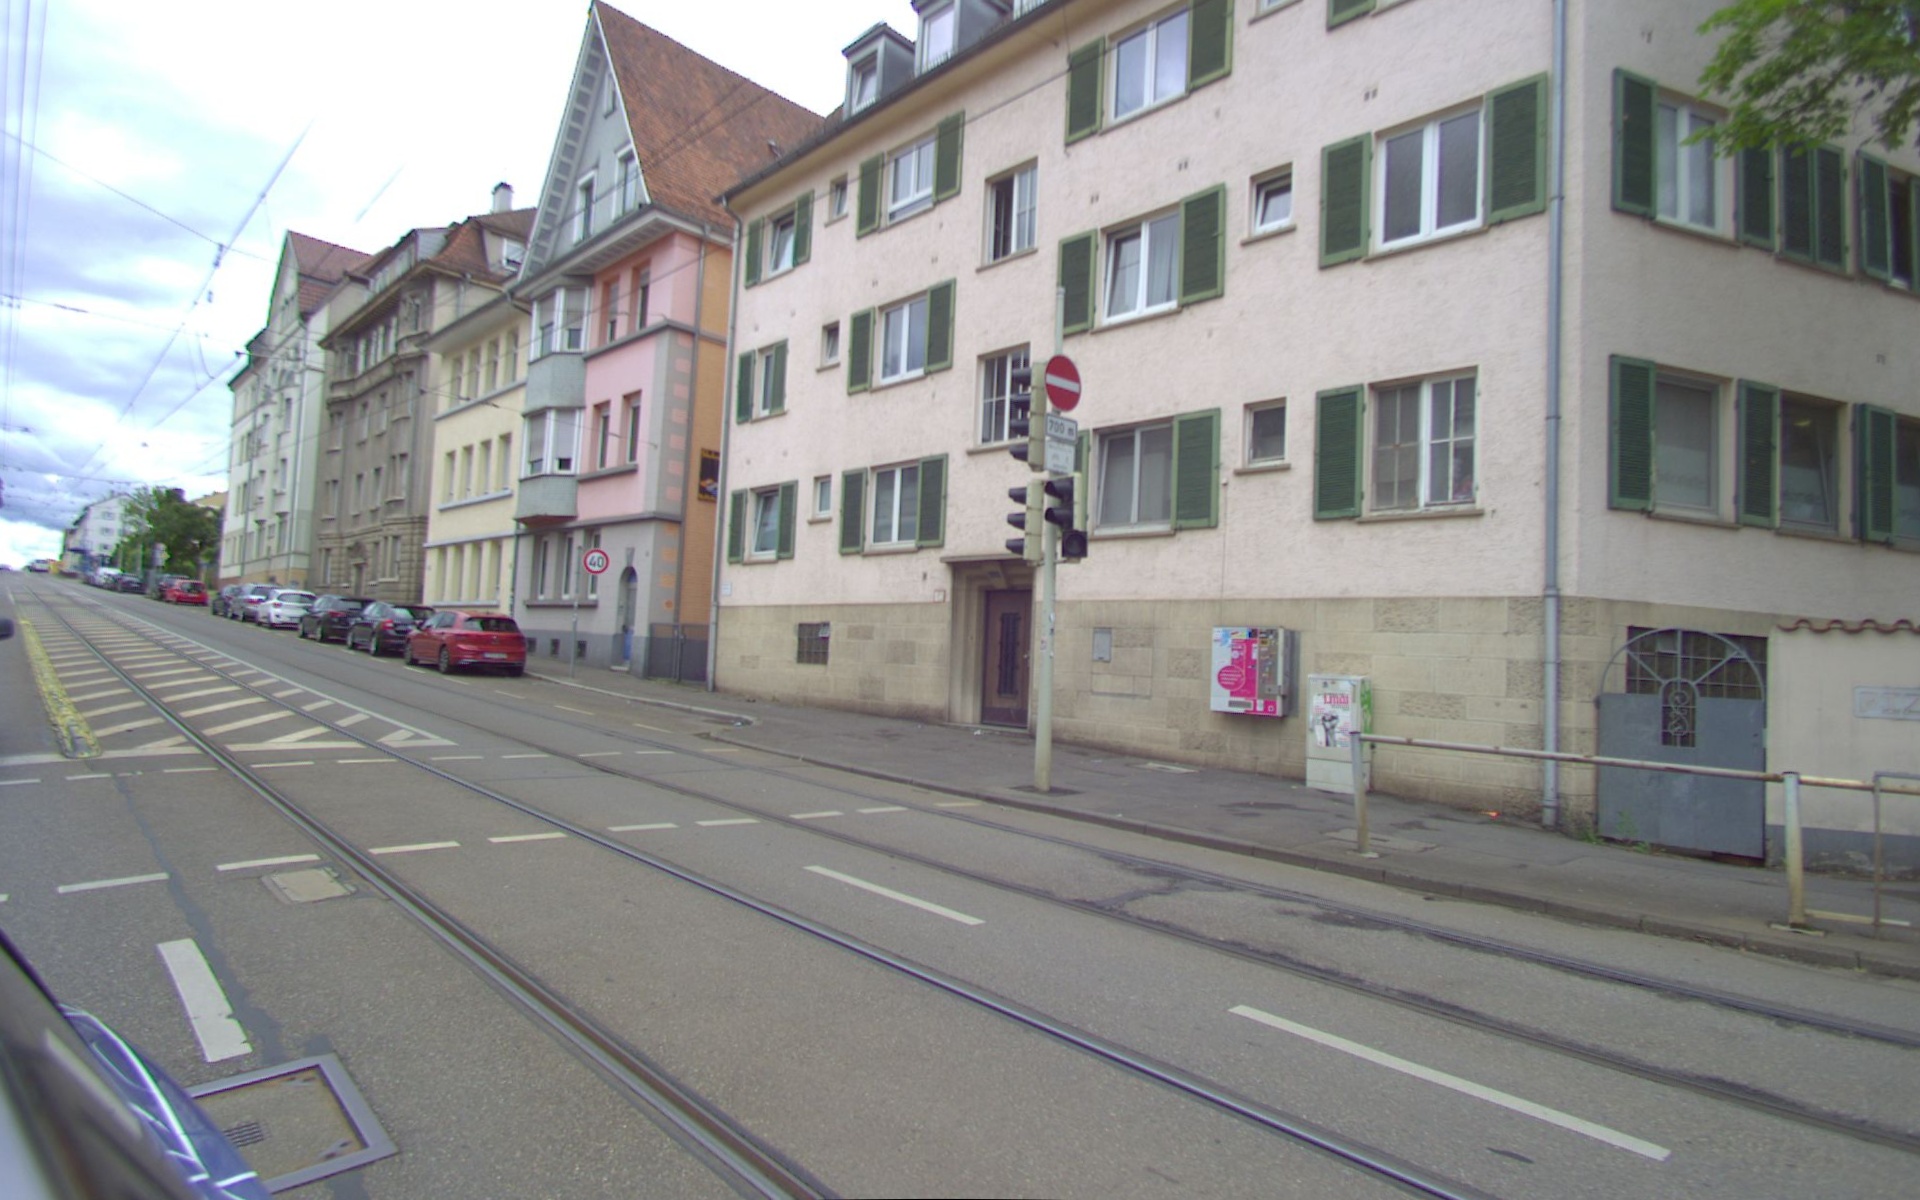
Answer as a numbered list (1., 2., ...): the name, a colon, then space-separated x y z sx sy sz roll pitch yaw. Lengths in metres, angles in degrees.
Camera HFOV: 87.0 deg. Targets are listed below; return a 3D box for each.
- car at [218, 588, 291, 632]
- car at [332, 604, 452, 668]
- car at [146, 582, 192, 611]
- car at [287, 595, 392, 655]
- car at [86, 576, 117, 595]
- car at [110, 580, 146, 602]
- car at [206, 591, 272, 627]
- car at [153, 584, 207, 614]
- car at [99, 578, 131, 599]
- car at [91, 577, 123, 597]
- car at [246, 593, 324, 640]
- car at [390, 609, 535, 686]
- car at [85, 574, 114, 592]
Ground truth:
1. car: -29.532 0.400 42.327 1.719 1.579 4.146 5 -2 -45
2. car: -15.750 0.967 27.962 1.764 1.421 4.245 8 -4 -44
3. car: -49.511 -0.246 63.325 3.954 1.537 1.719 2 -4 45
4. car: -19.460 0.763 31.643 1.764 1.522 4.530 8 -4 -44
5. car: -80.102 -1.355 94.399 3.954 1.537 1.719 2 -4 45
6. car: -67.222 -0.719 81.732 3.954 1.537 1.719 2 -4 45
7. car: -32.782 0.379 45.951 1.719 1.391 4.048 5 -2 -45
8. car: -46.196 -0.054 59.912 3.951 1.469 1.720 3 -4 42
9. car: -71.850 -0.997 86.023 1.718 1.537 3.956 8 -4 -44
10. car: -76.403 -1.170 90.609 3.954 1.537 1.719 2 -4 45
11. car: -25.636 0.595 38.385 1.718 1.522 3.804 6 -2 -44
12. car: -11.897 1.103 24.058 1.764 1.449 4.265 8 -4 -44
13. car: -84.035 -1.655 98.778 3.954 1.537 1.719 2 -4 45
